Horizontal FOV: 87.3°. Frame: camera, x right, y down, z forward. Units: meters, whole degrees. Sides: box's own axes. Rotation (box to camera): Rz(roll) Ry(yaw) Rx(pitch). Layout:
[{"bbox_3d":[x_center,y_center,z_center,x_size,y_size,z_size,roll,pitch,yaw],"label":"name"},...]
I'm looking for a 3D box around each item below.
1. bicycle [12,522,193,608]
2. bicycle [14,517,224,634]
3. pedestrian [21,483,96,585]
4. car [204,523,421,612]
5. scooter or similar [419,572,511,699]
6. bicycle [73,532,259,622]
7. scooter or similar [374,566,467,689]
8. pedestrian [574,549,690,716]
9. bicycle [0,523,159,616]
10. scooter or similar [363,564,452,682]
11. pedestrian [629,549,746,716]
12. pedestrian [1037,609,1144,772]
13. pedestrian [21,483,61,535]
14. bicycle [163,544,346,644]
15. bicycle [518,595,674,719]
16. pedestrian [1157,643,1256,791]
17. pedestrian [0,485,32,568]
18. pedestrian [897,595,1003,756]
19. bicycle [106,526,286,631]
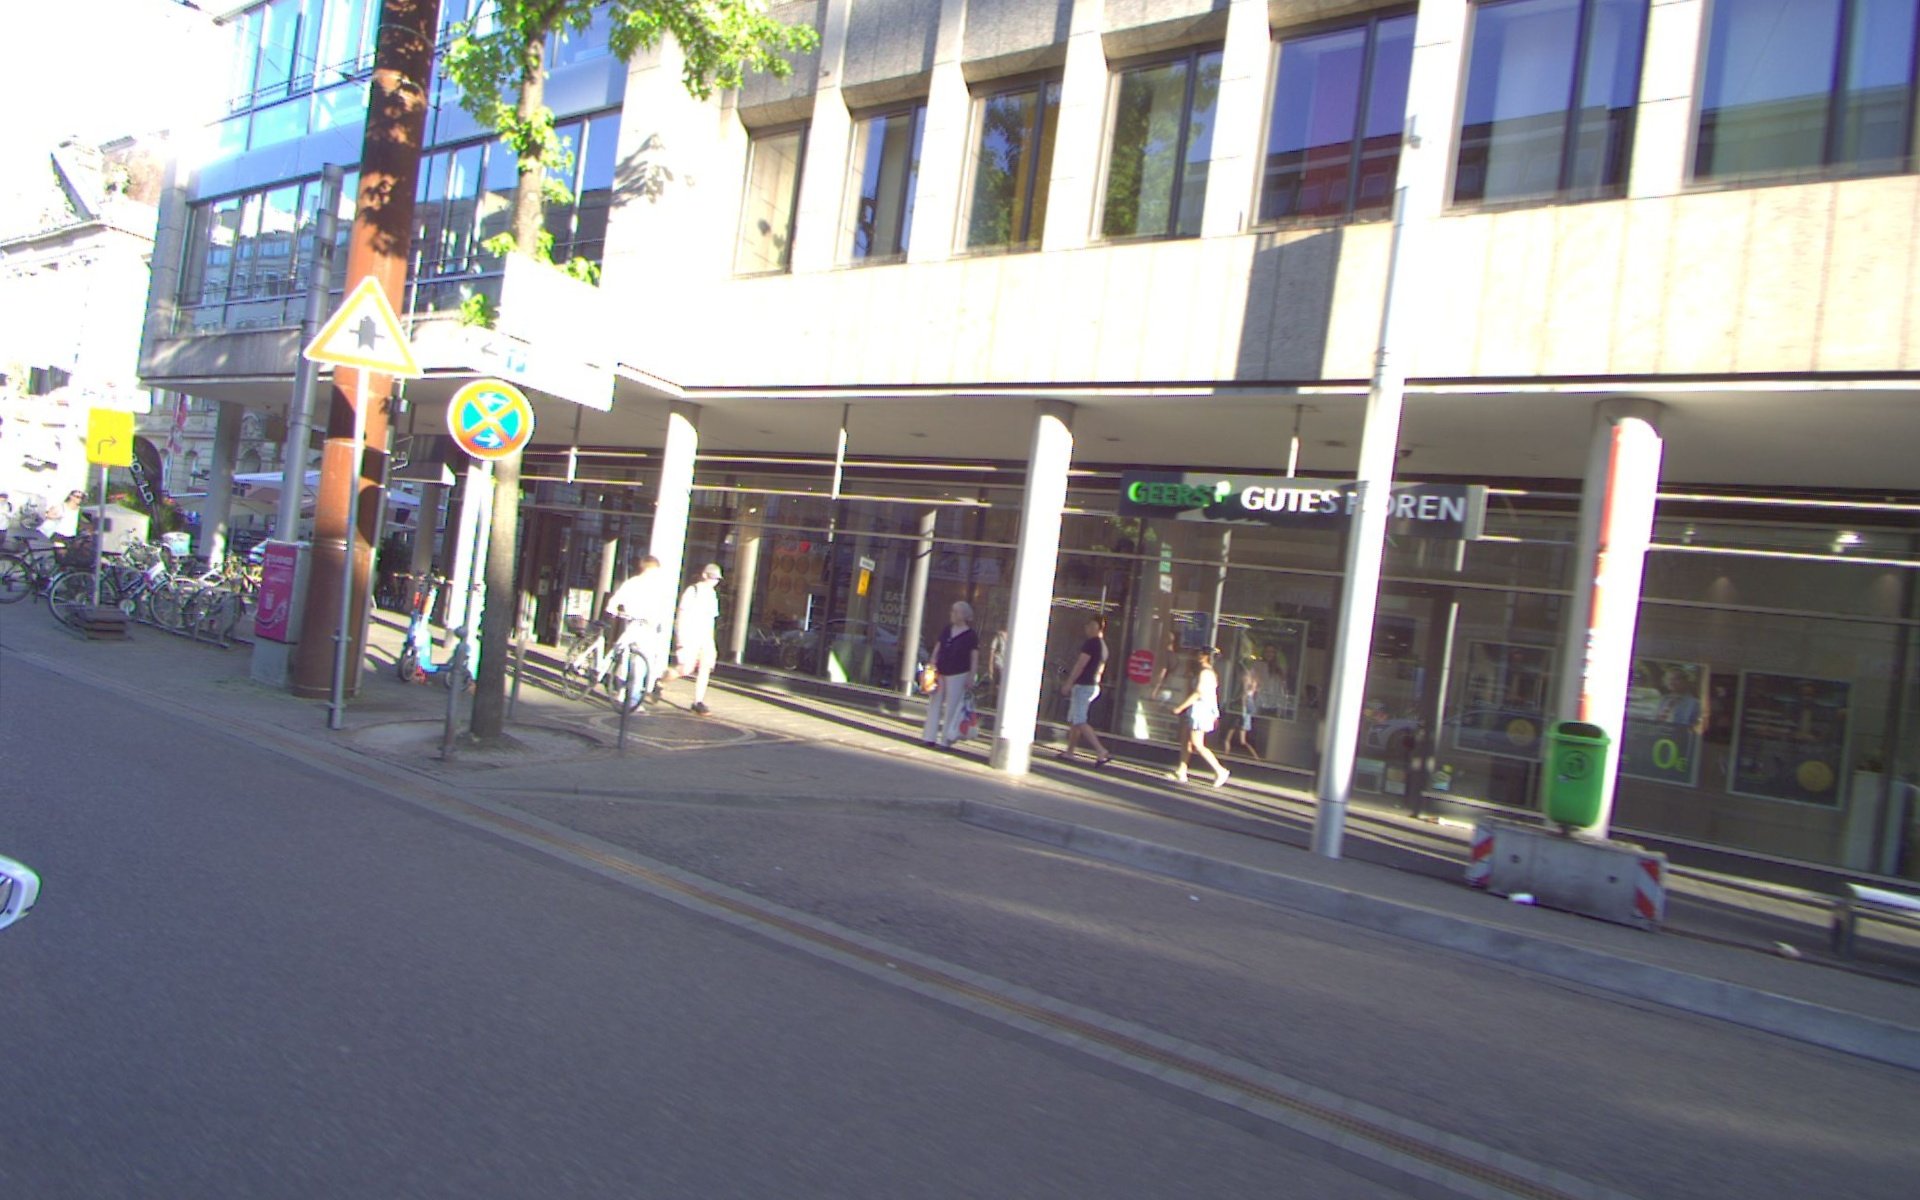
[{"bbox_3d":[-13.735,-0.527,16.208,0.598,1.109,2.121,7,-1,20],"label":"bicycle"},{"bbox_3d":[-10.614,-0.270,12.793,0.598,1.297,1.914,7,0,20],"label":"bicycle"},{"bbox_3d":[-17.101,-1.243,19.092,0.754,1.808,0.749,7,1,31],"label":"pedestrian"},{"bbox_3d":[-14.823,-0.688,23.266,1.620,1.490,3.813,7,-2,26],"label":"car"},{"bbox_3d":[-5.453,0.388,11.092,0.648,1.293,0.492,7,1,20],"label":"scooter or similar"},{"bbox_3d":[-11.866,-0.304,15.143,0.598,1.109,2.122,7,-1,18],"label":"bicycle"},{"bbox_3d":[-6.116,0.310,11.416,0.648,1.293,0.529,7,1,20],"label":"scooter or similar"},{"bbox_3d":[-3.716,0.362,11.440,0.678,1.768,0.900,7,3,31],"label":"pedestrian"},{"bbox_3d":[-12.993,-0.432,14.530,0.598,1.108,2.122,7,-2,20],"label":"bicycle"},{"bbox_3d":[-6.538,0.274,11.913,0.648,1.293,0.529,7,1,20],"label":"scooter or similar"},{"bbox_3d":[-3.254,0.376,11.998,1.016,1.836,0.701,7,3,31],"label":"pedestrian"},{"bbox_3d":[1.538,1.052,11.851,0.821,1.761,0.717,7,-1,32],"label":"pedestrian"},{"bbox_3d":[-34.358,-3.397,37.619,0.988,1.808,0.723,7,1,31],"label":"pedestrian"},{"bbox_3d":[-9.333,-0.036,13.415,0.598,1.171,1.914,7,0,20],"label":"bicycle"},{"bbox_3d":[-4.144,0.617,11.380,1.898,1.142,0.565,7,1,35],"label":"bicycle"},{"bbox_3d":[2.863,1.338,11.668,0.783,1.560,0.644,7,-1,32],"label":"pedestrian"},{"bbox_3d":[-21.697,-1.695,22.682,0.790,1.808,0.842,7,1,31],"label":"pedestrian"},{"bbox_3d":[-0.104,0.841,11.303,0.768,1.672,0.638,7,-1,32],"label":"pedestrian"},{"bbox_3d":[-10.768,-0.264,14.268,0.598,1.297,1.914,7,0,20],"label":"bicycle"}]
